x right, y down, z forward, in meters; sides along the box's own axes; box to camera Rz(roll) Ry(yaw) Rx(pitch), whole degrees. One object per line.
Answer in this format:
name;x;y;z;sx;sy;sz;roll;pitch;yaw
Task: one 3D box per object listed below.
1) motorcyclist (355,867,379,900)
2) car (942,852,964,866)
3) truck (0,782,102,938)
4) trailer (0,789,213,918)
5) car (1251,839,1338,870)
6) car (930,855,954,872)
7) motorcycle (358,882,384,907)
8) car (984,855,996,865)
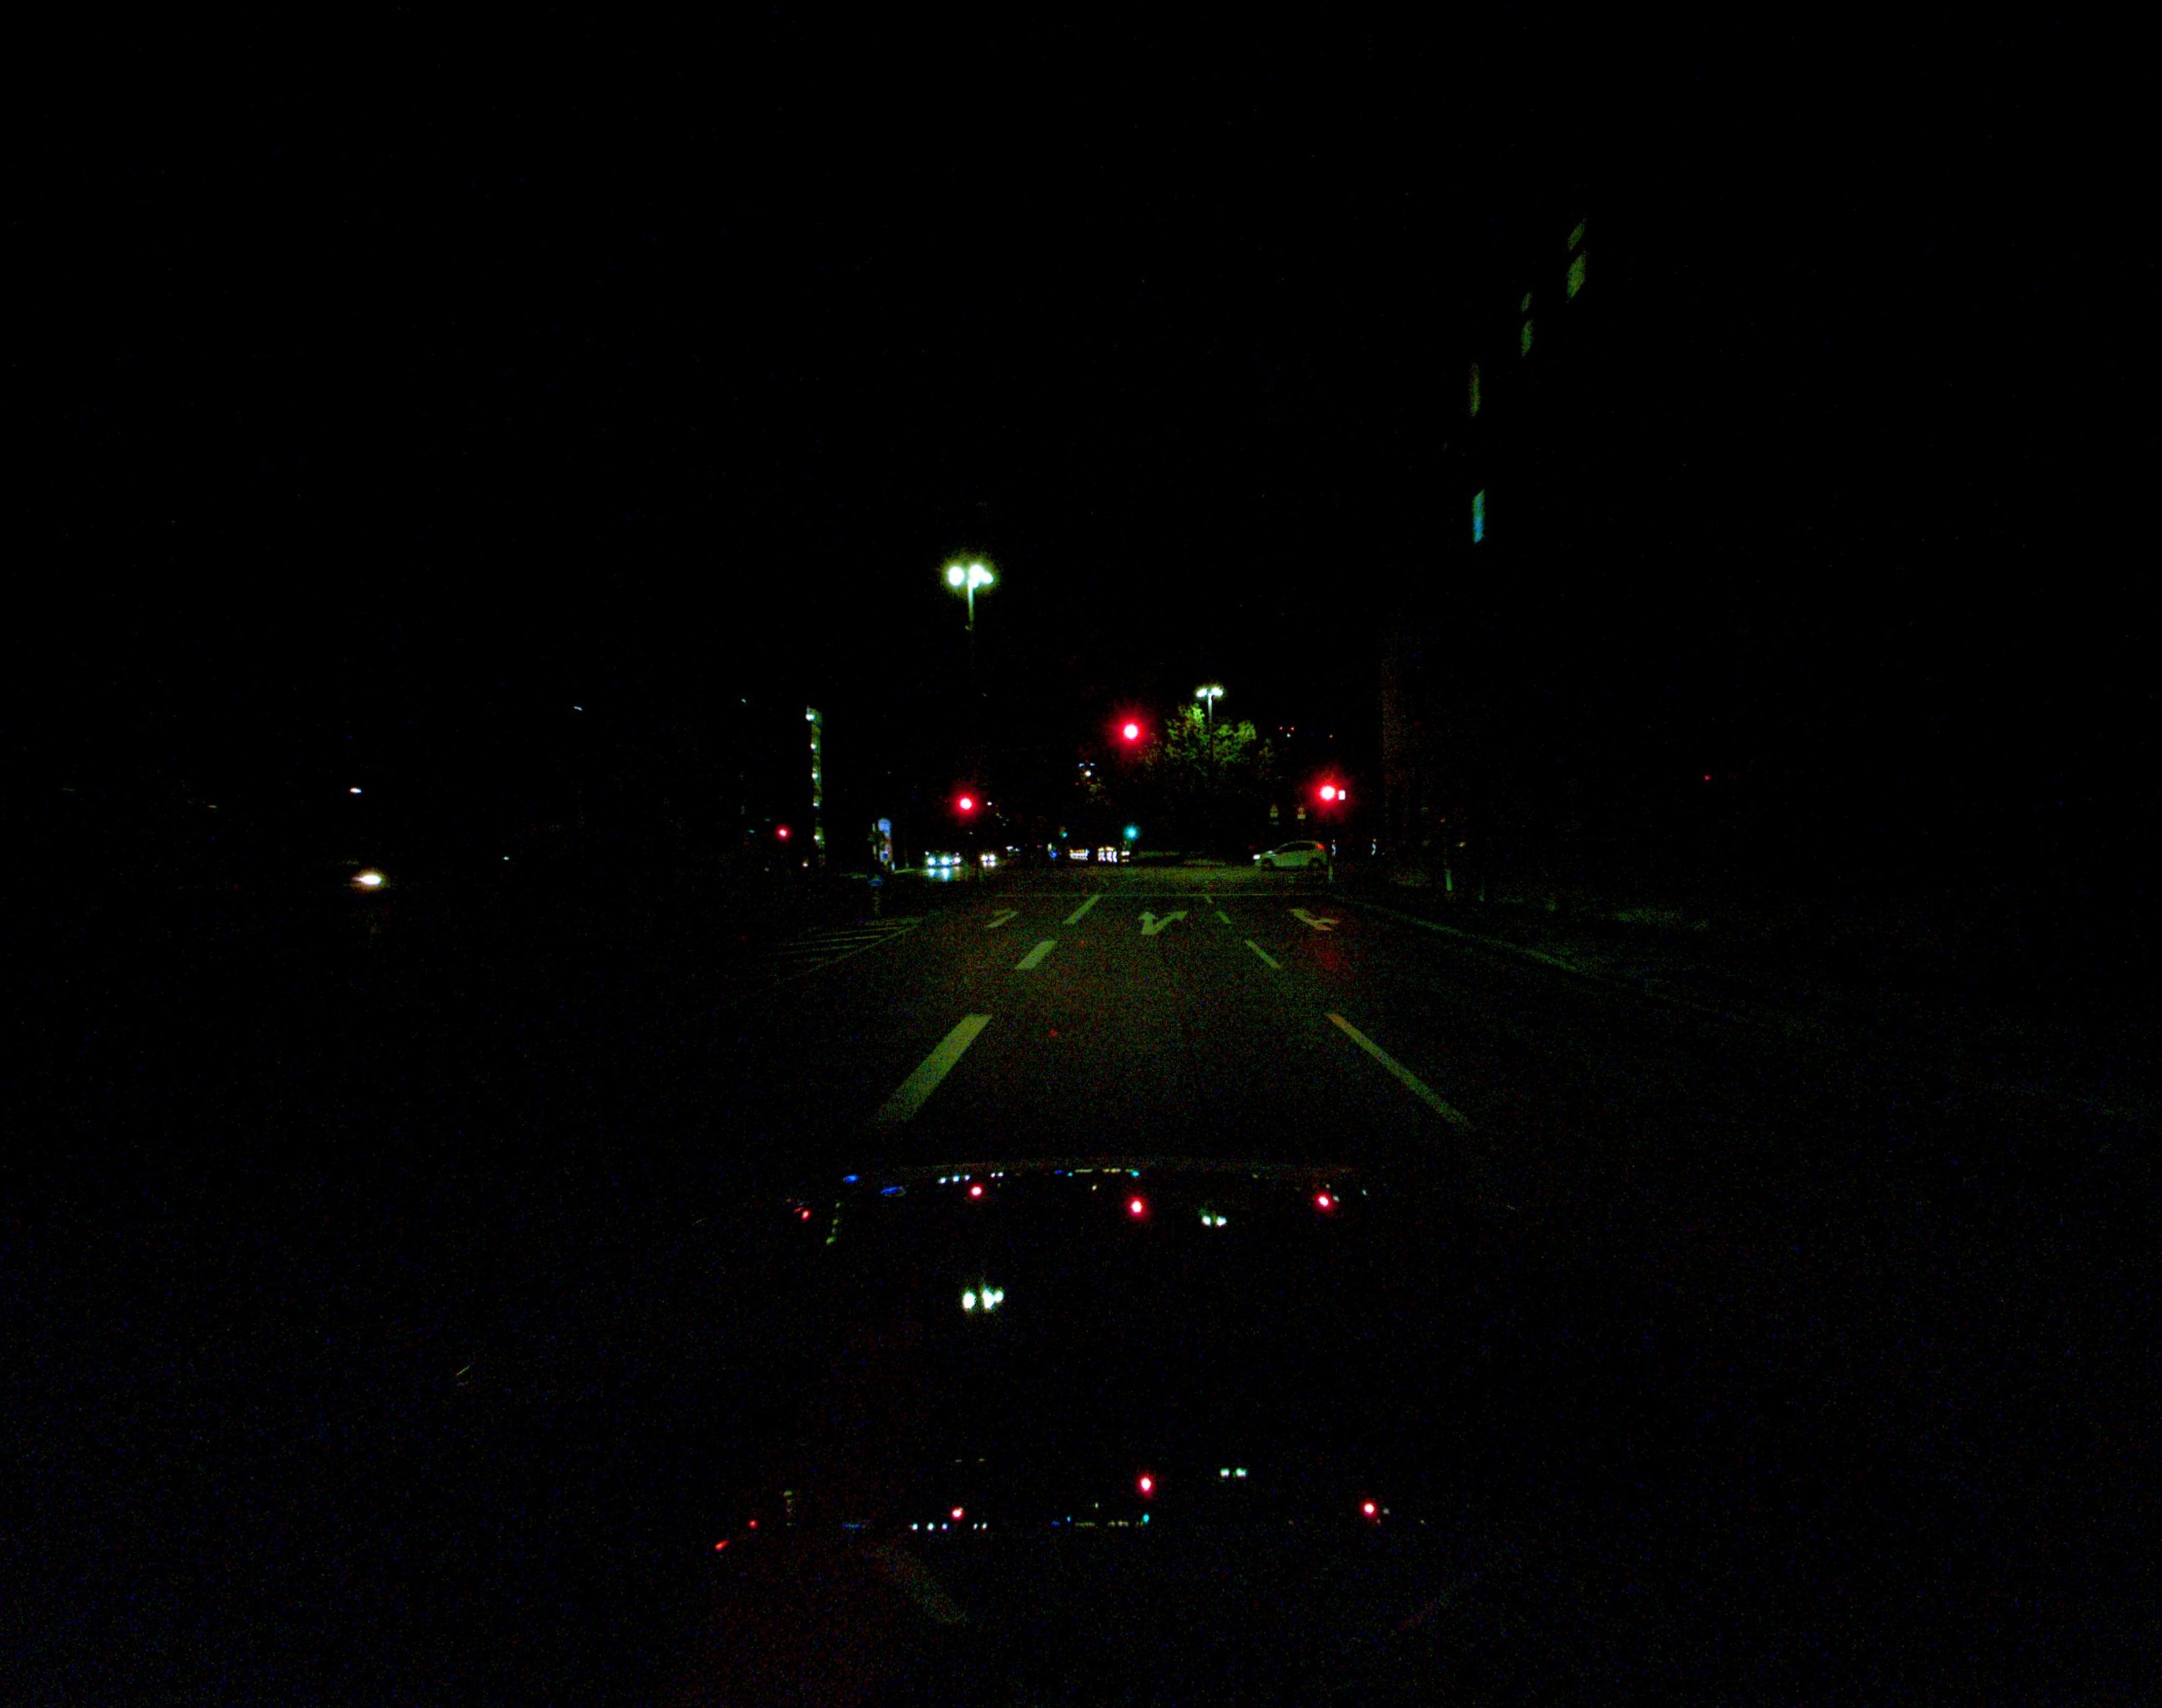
motorcyclist;-27.611;1.134;31.510;0.652;1.261;0.572;-1;-1;-45
car;-13.359;0.527;85.082;1.753;1.322;3.544;-1;0;-2
truck;-27.446;0.157;18.742;2.955;3.796;9.468;-1;0;-29
trailer;-32.285;0.025;27.280;2.630;3.791;6.450;-1;-1;-31
car;11.050;0.037;42.201;3.948;1.491;1.720;-2;-1;32
car;-13.263;0.883;77.865;1.611;1.515;3.997;-1;0;-2
motorcycle;-27.618;1.579;31.668;0.583;0.896;2.128;-4;2;-45
car;-15.957;1.066;142.335;1.753;1.728;3.544;-1;0;-2
